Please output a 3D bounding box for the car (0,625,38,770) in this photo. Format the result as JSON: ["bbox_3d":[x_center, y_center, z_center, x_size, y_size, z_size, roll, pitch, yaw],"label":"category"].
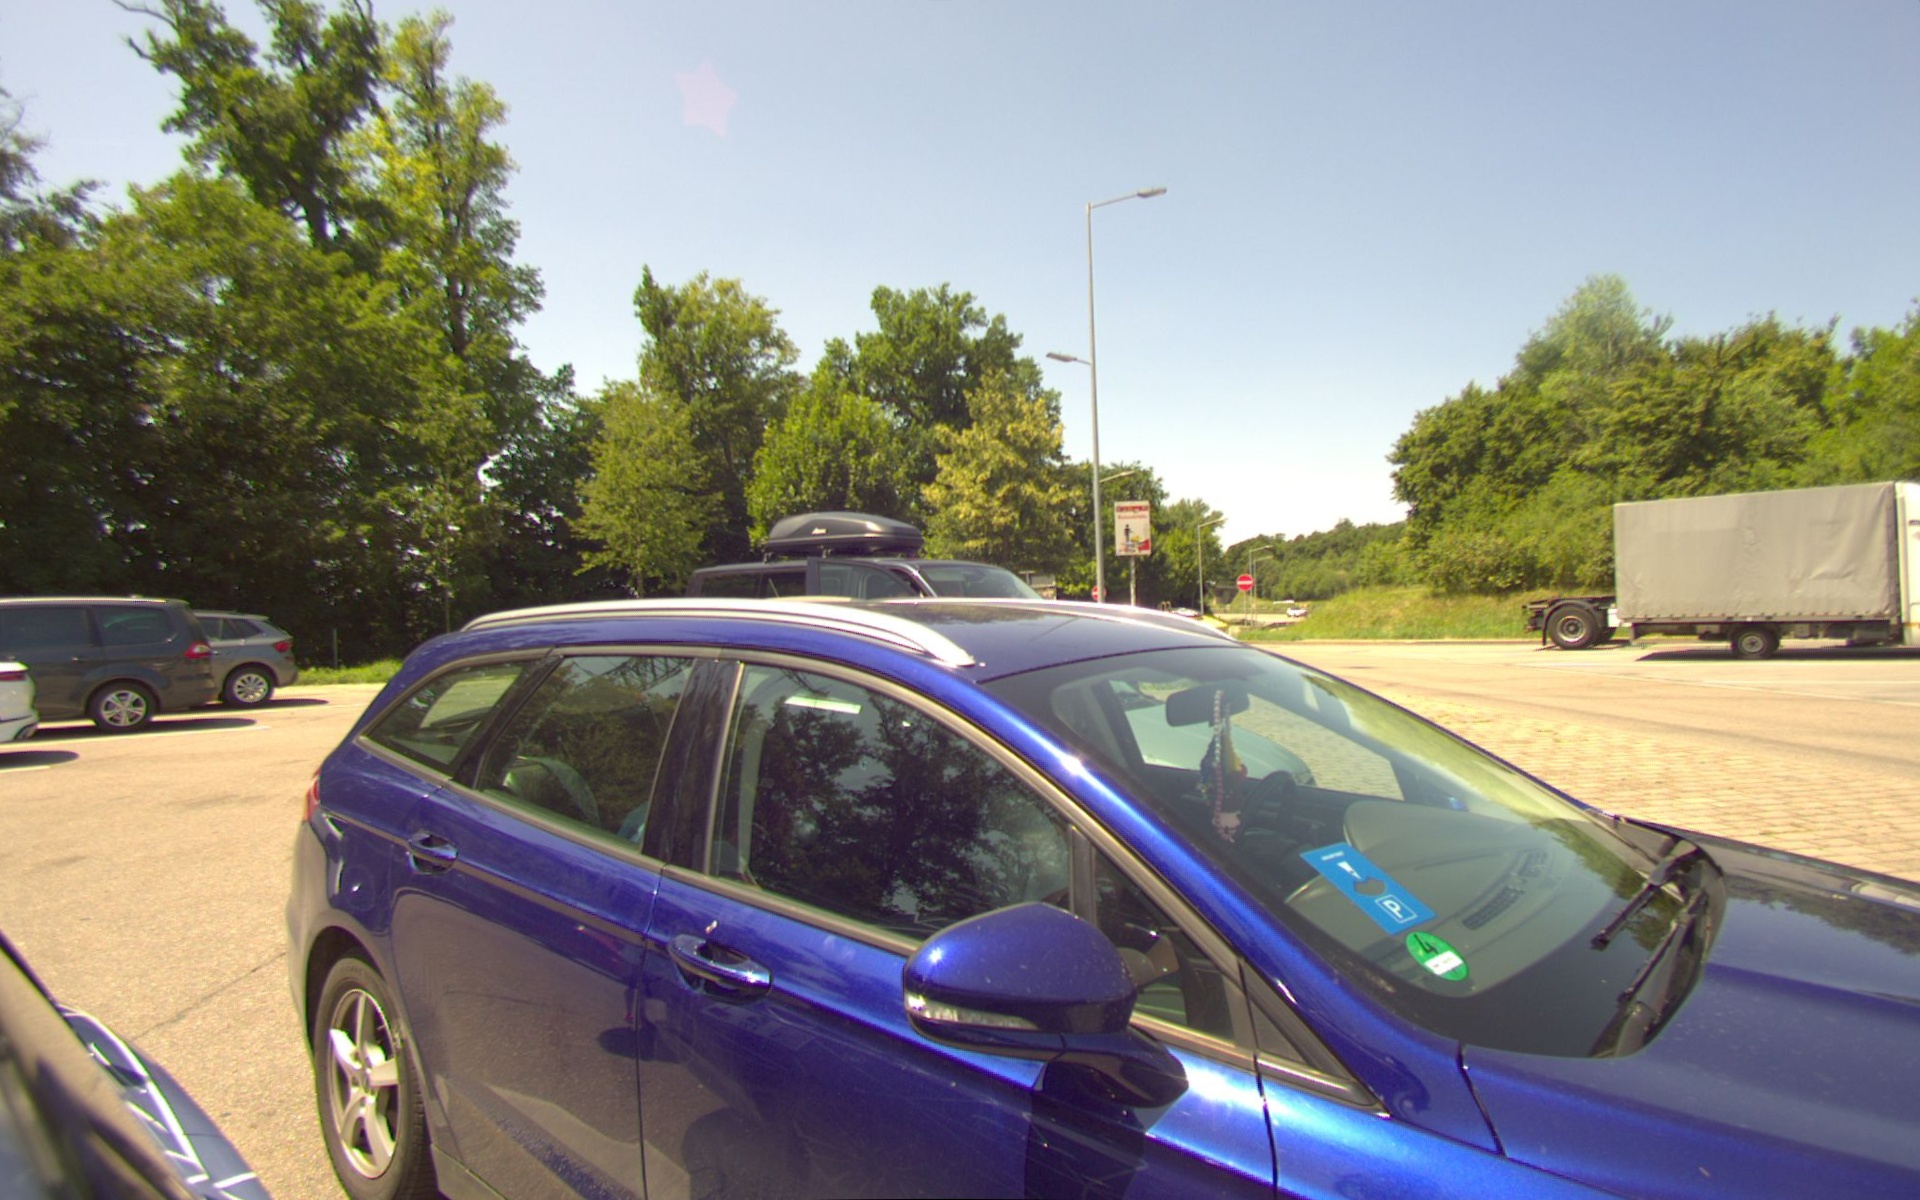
[{"bbox_3d":[-10.958,0.947,9.195,3.753,1.377,1.804,0,-1,-45],"label":"car"}]

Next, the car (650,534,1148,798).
[{"bbox_3d":[-0.730,0.535,9.414,4.426,1.875,2.022,-2,-1,40],"label":"car"}]

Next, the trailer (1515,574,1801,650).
[{"bbox_3d":[16.332,0.343,23.917,5.393,1.608,1.576,-2,-1,41],"label":"trailer"}]

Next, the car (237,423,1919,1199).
[{"bbox_3d":[0.242,0.652,2.082,4.427,1.455,1.763,-2,-1,40],"label":"car"}]

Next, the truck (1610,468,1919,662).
[{"bbox_3d":[16.711,-0.621,18.844,7.308,3.258,2.294,-5,-2,43],"label":"truck"}]

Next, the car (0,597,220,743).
[{"bbox_3d":[-11.712,0.840,12.583,3.830,1.703,1.883,0,-2,-45],"label":"car"}]

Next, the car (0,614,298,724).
[{"bbox_3d":[-12.608,0.976,15.623,3.753,1.488,1.743,0,-1,-45],"label":"car"}]

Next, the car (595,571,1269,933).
[{"bbox_3d":[-0.362,0.652,5.803,3.739,1.424,1.587,-2,-1,40],"label":"car"}]
